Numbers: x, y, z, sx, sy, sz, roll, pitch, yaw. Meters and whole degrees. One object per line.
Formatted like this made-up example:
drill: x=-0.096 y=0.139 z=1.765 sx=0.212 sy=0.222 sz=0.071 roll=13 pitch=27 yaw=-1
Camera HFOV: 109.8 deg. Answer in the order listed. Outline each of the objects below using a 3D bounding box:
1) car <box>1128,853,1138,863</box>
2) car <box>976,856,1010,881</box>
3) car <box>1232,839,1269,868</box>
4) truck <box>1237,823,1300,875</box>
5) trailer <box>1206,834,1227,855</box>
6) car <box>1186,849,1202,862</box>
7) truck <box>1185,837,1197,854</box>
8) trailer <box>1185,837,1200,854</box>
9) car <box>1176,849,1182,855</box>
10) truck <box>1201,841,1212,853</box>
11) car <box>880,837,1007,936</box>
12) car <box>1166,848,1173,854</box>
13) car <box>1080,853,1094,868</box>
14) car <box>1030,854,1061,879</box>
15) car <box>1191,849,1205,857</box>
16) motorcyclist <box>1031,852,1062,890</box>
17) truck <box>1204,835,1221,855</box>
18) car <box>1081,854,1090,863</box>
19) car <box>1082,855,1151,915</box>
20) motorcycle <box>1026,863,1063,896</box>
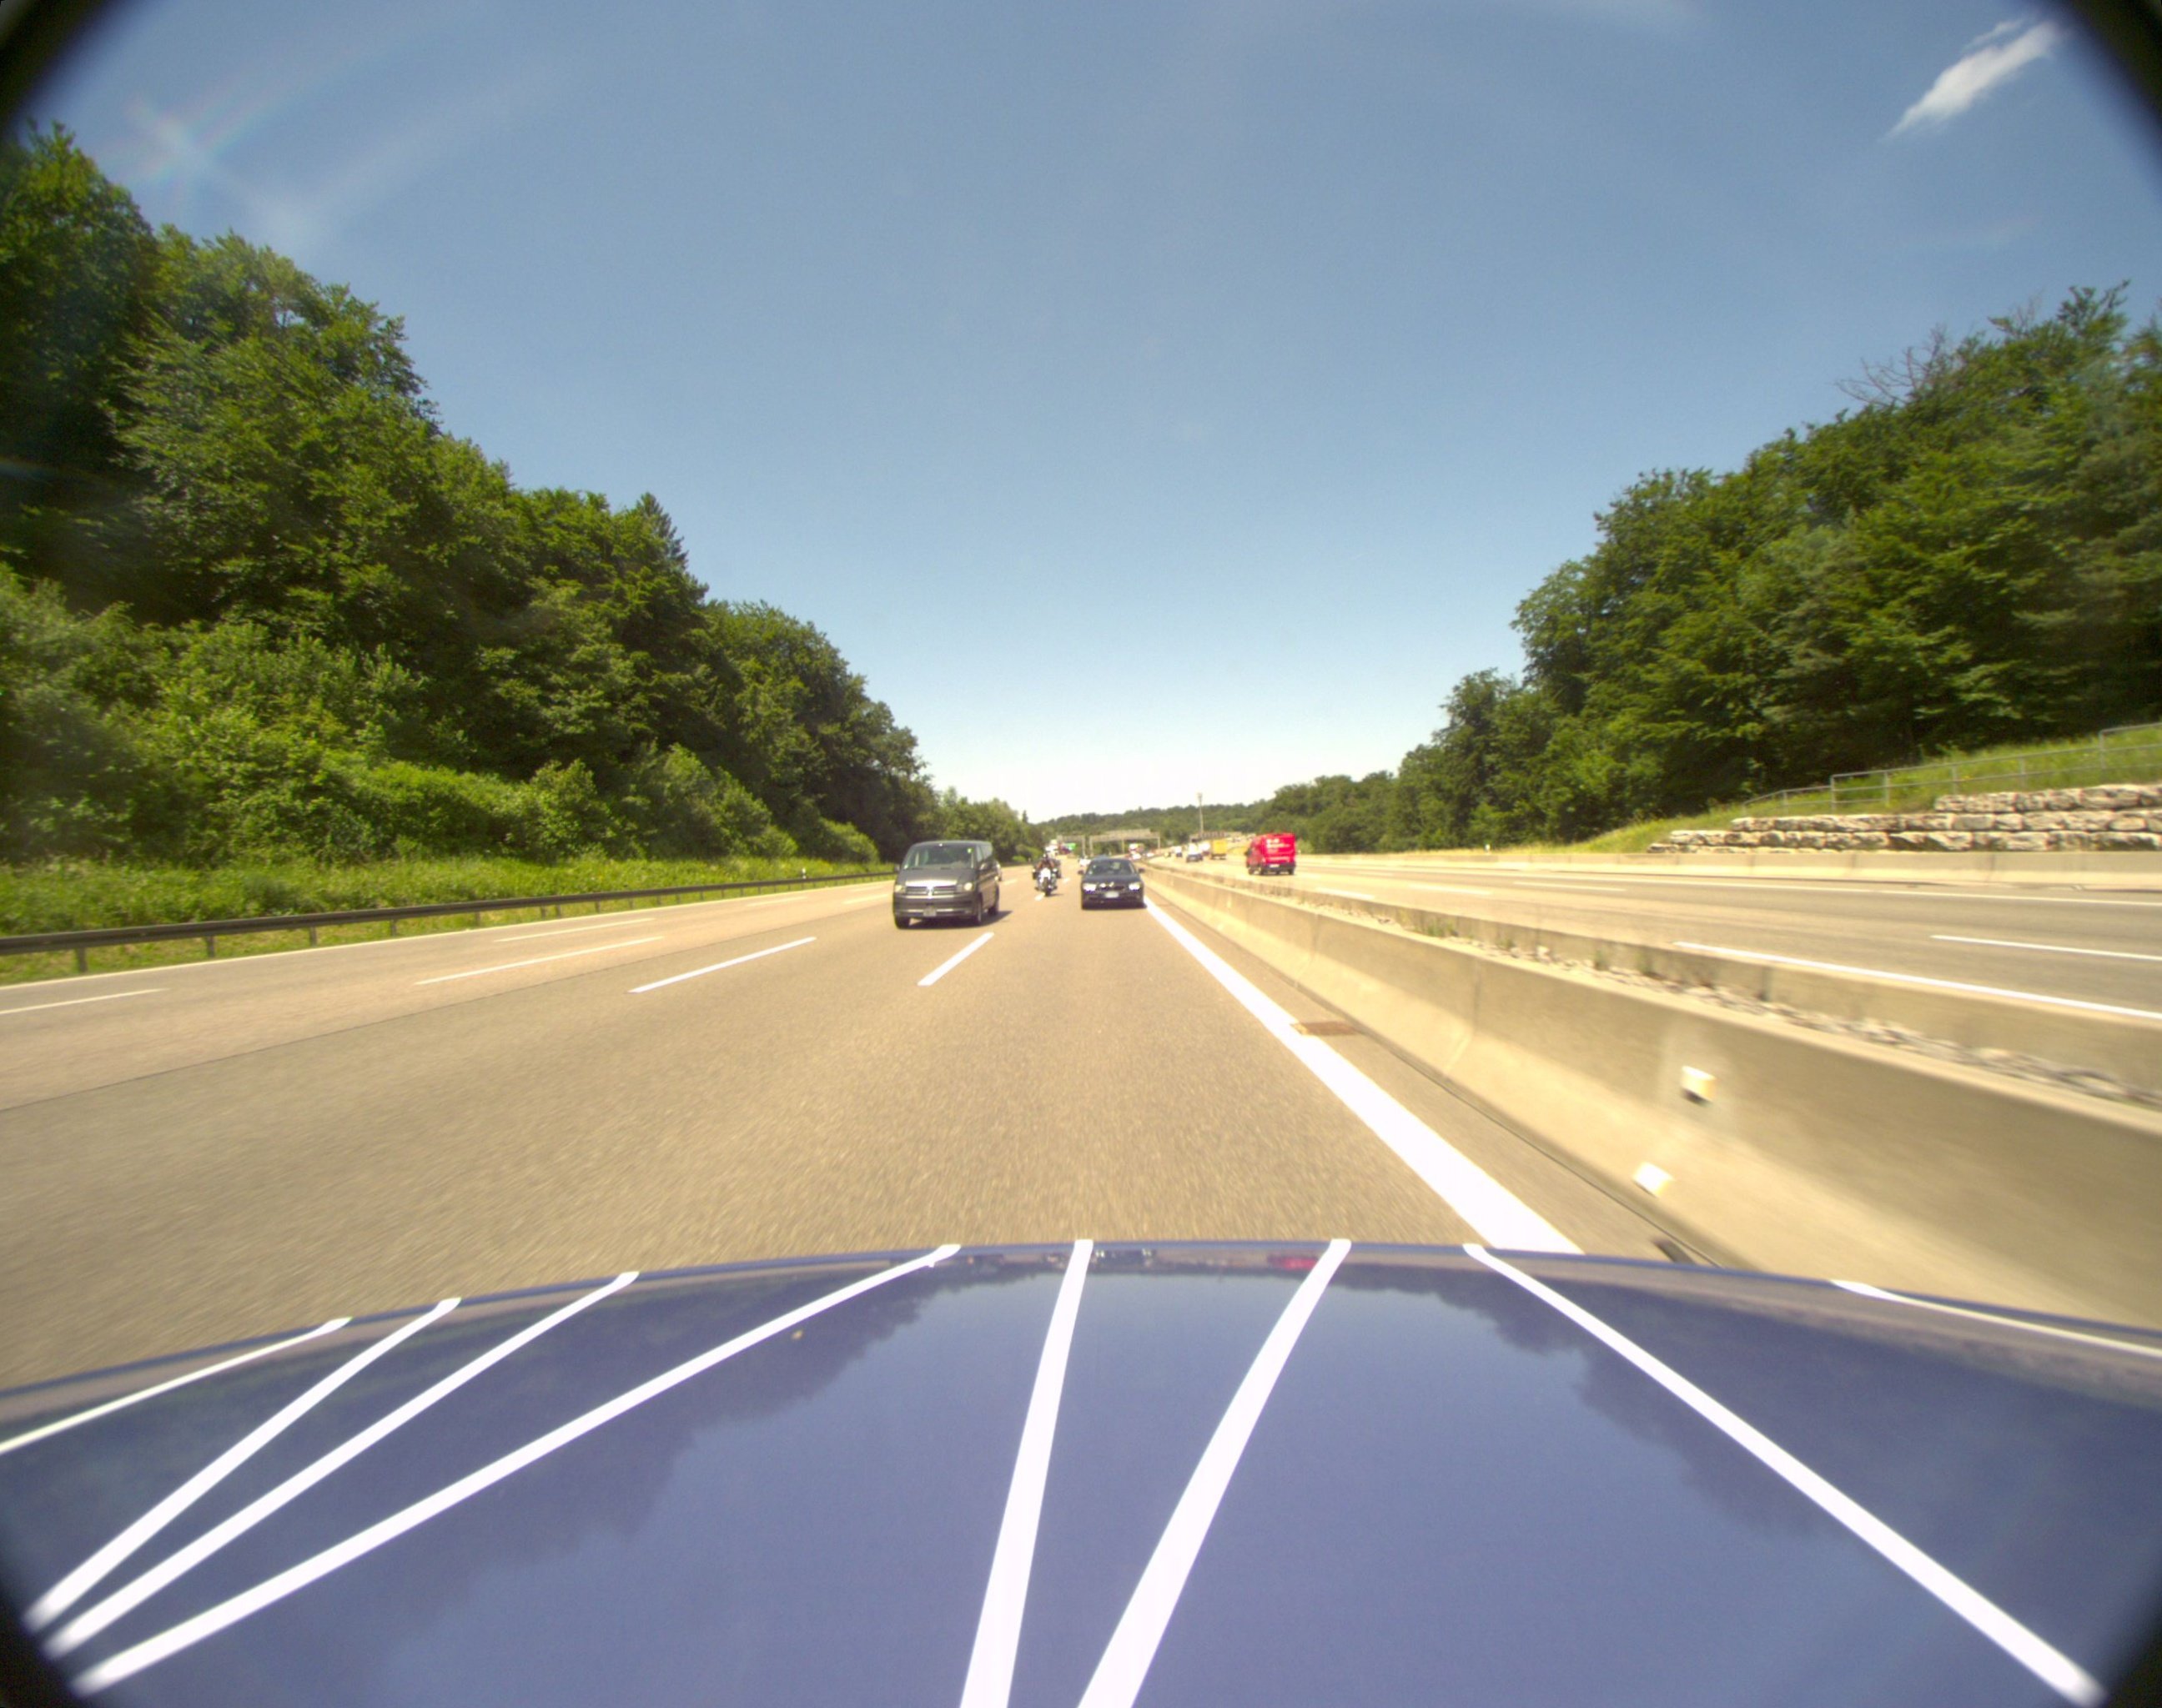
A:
car: x=11.532 y=0.802 z=167.646 sx=1.998 sy=2.002 sz=4.001 roll=-3 pitch=0 yaw=4
car: x=-5.761 y=0.936 z=50.095 sx=1.754 sy=1.510 sz=4.483 roll=-2 pitch=0 yaw=-1
car: x=14.659 y=-0.039 z=66.100 sx=1.998 sy=2.273 sz=5.803 roll=-3 pitch=0 yaw=2
truck: x=11.629 y=-0.272 z=47.694 sx=2.115 sy=2.959 sz=7.014 roll=-2 pitch=0 yaw=0
trailer: x=27.388 y=-1.868 z=154.087 sx=2.729 sy=3.981 sz=13.728 roll=-2 pitch=0 yaw=4
car: x=18.257 y=0.144 z=122.544 sx=1.998 sy=1.861 sz=5.251 roll=-3 pitch=1 yaw=4
truck: x=27.358 y=-2.127 z=189.013 sx=2.536 sy=3.917 sz=6.803 roll=-2 pitch=0 yaw=4
trailer: x=27.049 y=-2.064 z=184.292 sx=2.544 sy=3.858 sz=11.697 roll=-2 pitch=0 yaw=4
car: x=27.699 y=-0.666 z=214.914 sx=1.723 sy=1.634 sz=4.061 roll=-2 pitch=0 yaw=5
truck: x=38.462 y=-2.033 z=232.795 sx=2.615 sy=3.446 sz=9.884 roll=-3 pitch=1 yaw=6
car: x=-3.152 y=0.675 z=18.622 sx=1.967 sy=2.022 sz=5.083 roll=-2 pitch=0 yaw=2
car: x=26.108 y=-0.842 z=224.166 sx=1.998 sy=1.695 sz=4.955 roll=-2 pitch=0 yaw=6
car: x=0.864 y=0.923 z=111.997 sx=1.729 sy=1.522 sz=3.739 roll=11 pitch=5 yaw=1
car: x=-2.416 y=0.826 z=52.964 sx=1.760 sy=1.431 sz=3.999 roll=-2 pitch=2 yaw=2
car: x=21.748 y=-0.156 z=141.299 sx=1.998 sy=1.474 sz=4.581 roll=-2 pitch=0 yaw=4
motorcyclist: x=-1.327 y=0.648 z=29.248 sx=0.853 sy=1.419 sz=1.024 roll=-1 pitch=2 yaw=18
truck: x=27.825 y=-1.946 z=160.829 sx=2.756 sy=3.994 sz=6.753 roll=-2 pitch=0 yaw=4
car: x=0.978 y=1.157 z=181.064 sx=1.998 sy=2.001 sz=4.001 roll=-2 pitch=-1 yaw=1
car: x=1.065 y=0.821 z=22.227 sx=1.769 sy=1.496 sz=4.001 roll=-3 pitch=0 yaw=3
motorcycle: x=-1.370 y=0.954 z=29.040 sx=0.536 sy=1.129 sz=2.439 roll=-1 pitch=1 yaw=18
